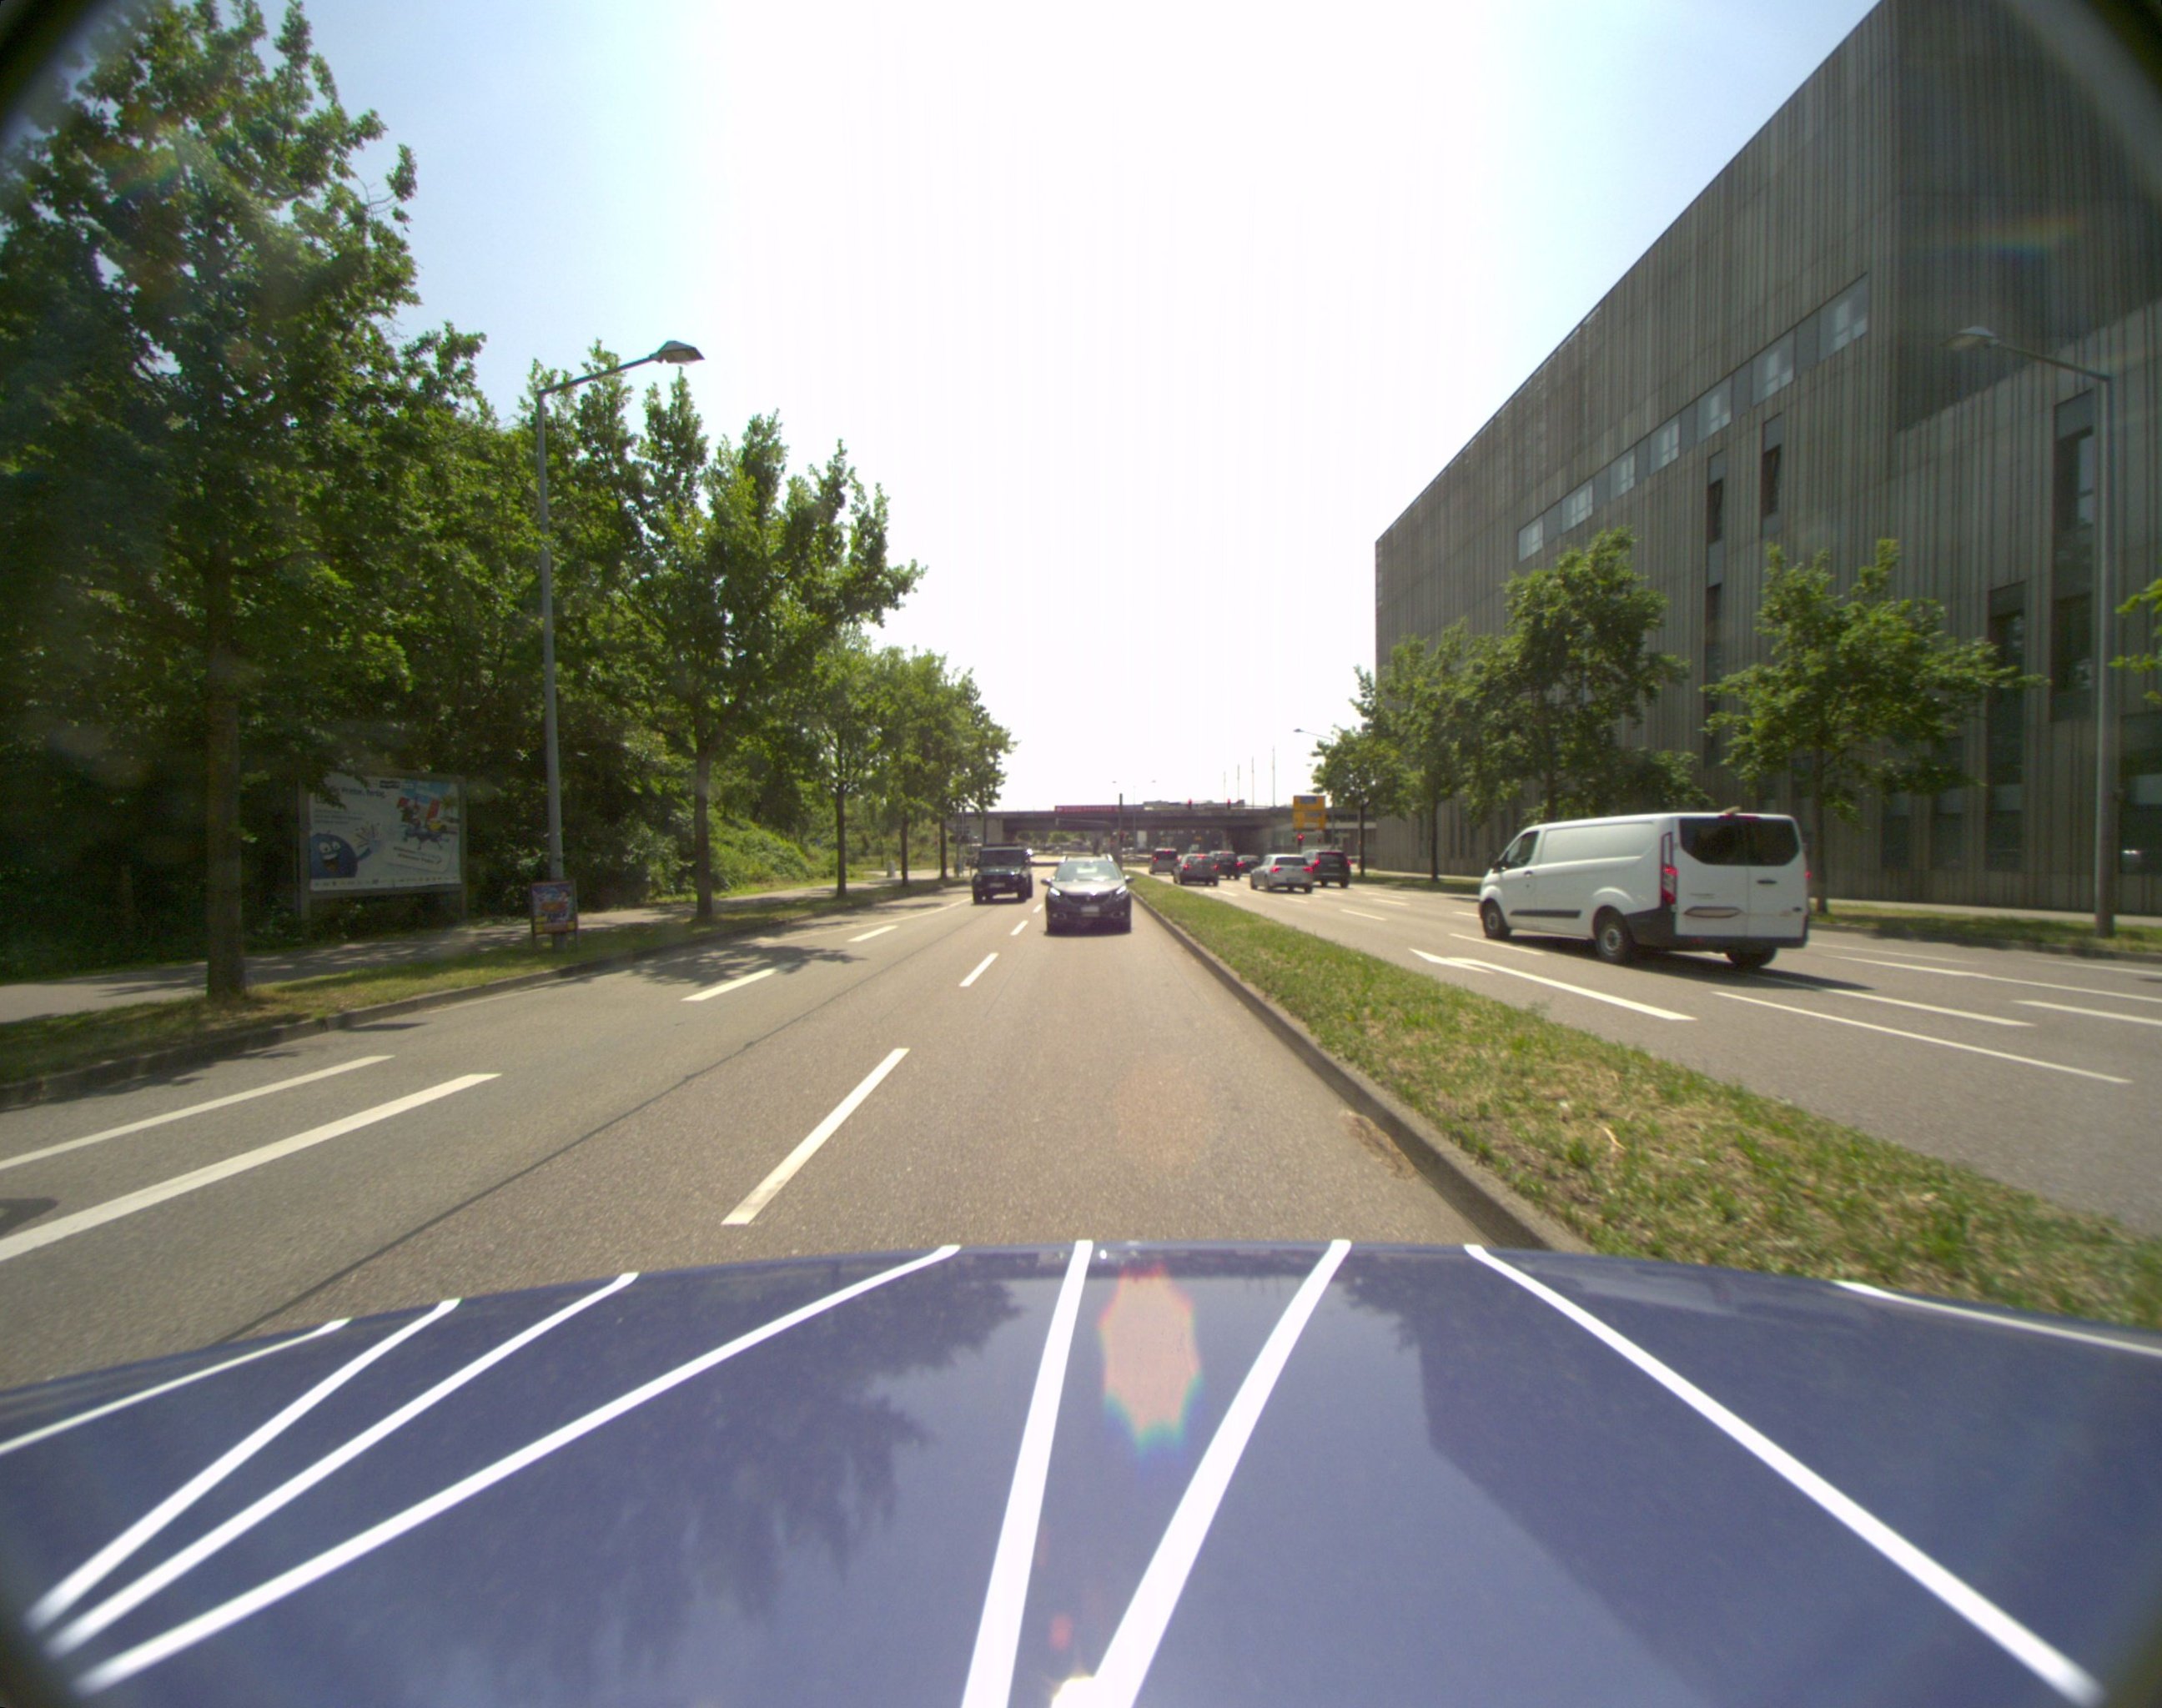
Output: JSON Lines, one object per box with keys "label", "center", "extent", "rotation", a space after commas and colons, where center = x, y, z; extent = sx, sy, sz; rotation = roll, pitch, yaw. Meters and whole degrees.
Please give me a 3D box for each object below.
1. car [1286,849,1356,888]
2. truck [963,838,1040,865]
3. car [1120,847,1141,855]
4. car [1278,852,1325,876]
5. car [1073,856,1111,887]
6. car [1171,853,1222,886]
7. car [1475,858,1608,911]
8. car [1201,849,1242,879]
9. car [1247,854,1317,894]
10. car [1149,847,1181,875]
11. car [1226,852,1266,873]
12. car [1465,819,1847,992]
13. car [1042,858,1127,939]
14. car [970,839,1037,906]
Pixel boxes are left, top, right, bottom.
{"label": "car", "center": [11.437, 0.656, 36.559], "extent": [1.815, 1.736, 4.645], "rotation": [1, 0, -1]}
{"label": "truck", "center": [-9.138, -0.306, 88.404], "extent": [8.531, 2.899, 2.880], "rotation": [-2, 1, -37]}
{"label": "car", "center": [10.596, -0.691, 162.452], "extent": [3.991, 1.674, 2.003], "rotation": [0, 1, 18]}
{"label": "car", "center": [14.554, 0.640, 50.485], "extent": [1.815, 1.534, 4.370], "rotation": [1, 0, 0]}
{"label": "car", "center": [0.520, 0.869, 39.625], "extent": [1.817, 1.456, 3.999], "rotation": [-1, 1, -1]}
{"label": "car", "center": [5.393, 0.689, 35.866], "extent": [1.815, 1.458, 4.057], "rotation": [1, 0, 1]}
{"label": "car", "center": [14.002, 0.879, 23.403], "extent": [1.625, 1.447, 4.017], "rotation": [0, 0, 0]}
{"label": "car", "center": [8.423, 0.564, 45.812], "extent": [1.806, 1.653, 4.573], "rotation": [1, 0, 3]}
{"label": "car", "center": [7.947, 0.734, 30.422], "extent": [1.770, 1.452, 4.145], "rotation": [1, 0, 1]}
{"label": "car", "center": [5.821, 0.458, 52.946], "extent": [1.814, 1.790, 4.714], "rotation": [1, 0, 1]}
{"label": "car", "center": [11.546, 0.565, 53.438], "extent": [1.815, 1.409, 4.249], "rotation": [-1, 0, -1]}
{"label": "car", "center": [7.901, 0.587, 11.254], "extent": [1.914, 1.981, 4.897], "rotation": [1, 0, 0]}
{"label": "car", "center": [0.188, 0.862, 16.721], "extent": [1.619, 1.503, 4.459], "rotation": [-1, 0, 3]}
{"label": "car", "center": [-2.648, 0.583, 26.980], "extent": [1.841, 2.141, 4.557], "rotation": [-1, 1, 0]}
